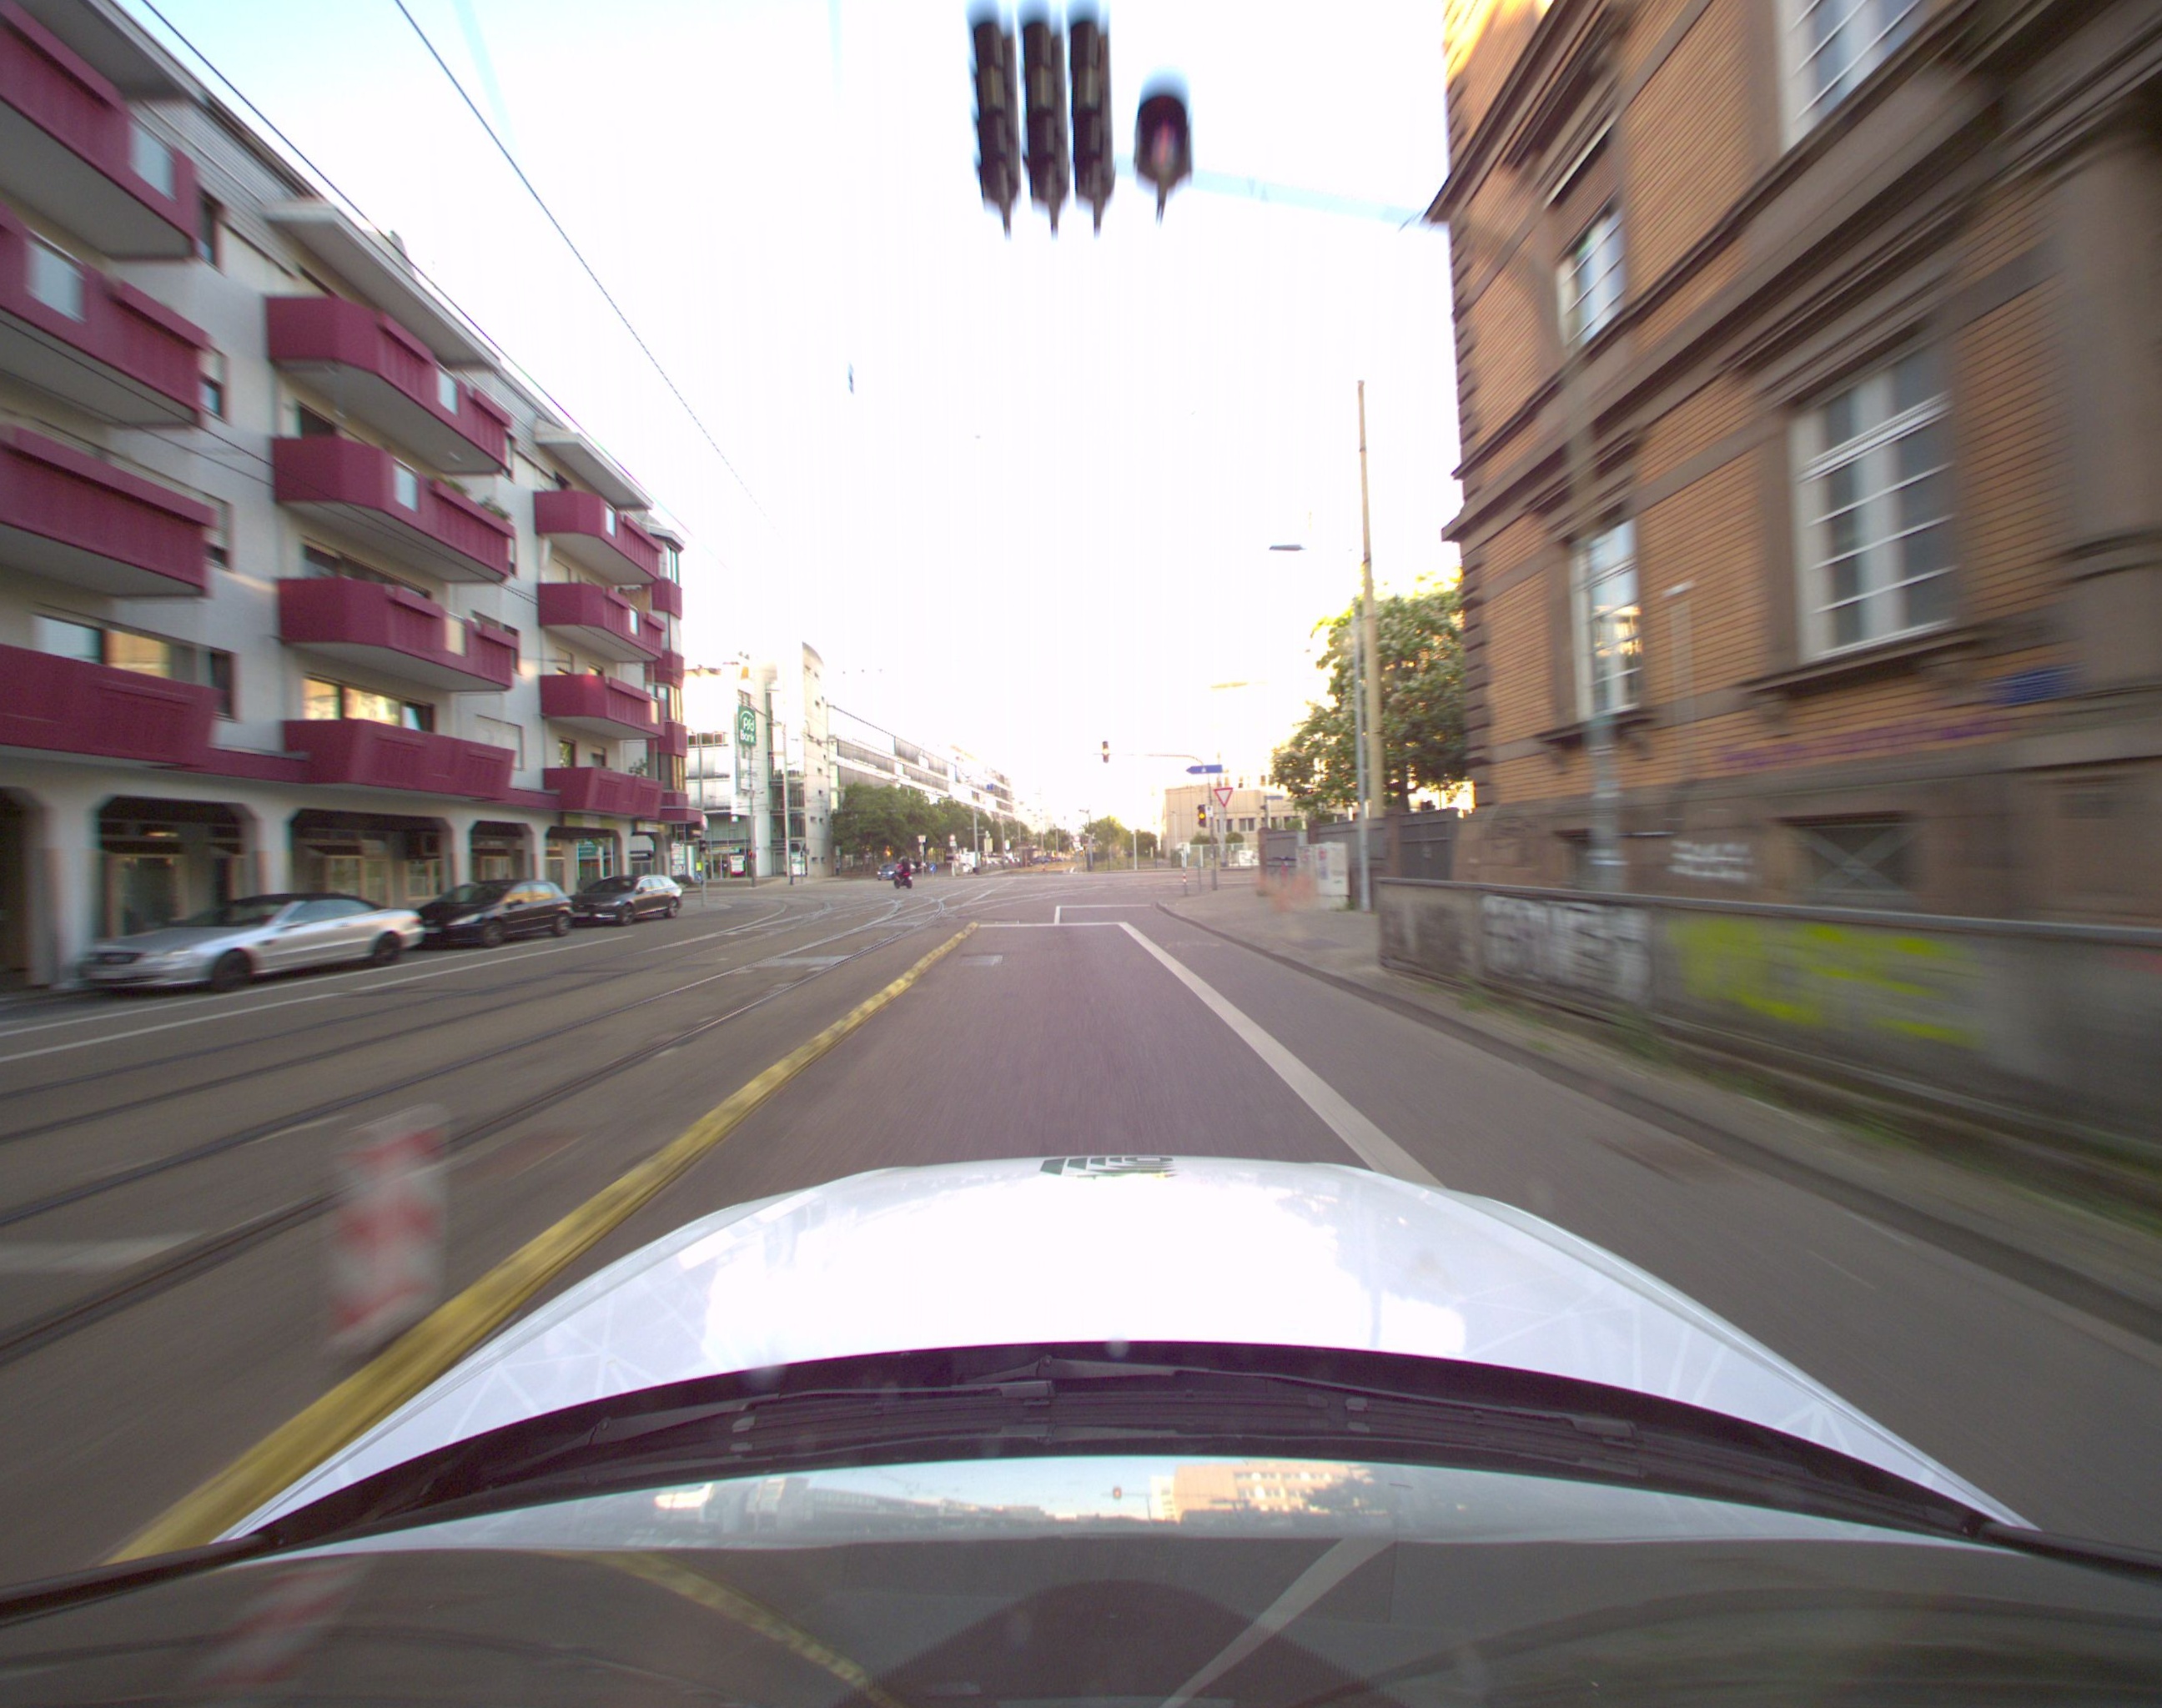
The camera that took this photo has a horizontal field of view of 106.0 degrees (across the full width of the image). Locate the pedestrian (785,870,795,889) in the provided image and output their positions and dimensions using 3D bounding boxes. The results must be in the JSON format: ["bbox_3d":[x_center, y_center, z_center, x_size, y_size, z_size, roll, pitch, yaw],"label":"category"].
[{"bbox_3d":[-26.952,2.331,75.534,0.542,1.711,0.662,-3,0,14],"label":"pedestrian"}]

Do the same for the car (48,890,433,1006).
[{"bbox_3d":[-13.646,1.420,13.763,1.686,1.414,4.675,0,0,-1],"label":"car"}]

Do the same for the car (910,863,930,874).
[{"bbox_3d":[-22.932,2.052,116.322,1.675,1.501,4.245,-2,0,5],"label":"car"}]

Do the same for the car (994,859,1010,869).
[{"bbox_3d":[-11.760,1.457,121.418,1.675,1.439,4.130,-2,0,4],"label":"car"}]

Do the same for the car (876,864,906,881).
[{"bbox_3d":[-20.058,1.923,86.051,1.674,1.699,4.246,-2,0,6],"label":"car"}]

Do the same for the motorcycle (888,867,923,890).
[{"bbox_3d":[-9.858,1.368,45.708,0.835,1.240,2.462,-2,0,-39],"label":"motorcycle"}]

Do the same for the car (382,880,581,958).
[{"bbox_3d":[-14.085,1.454,19.496,1.784,1.508,4.196,-1,0,-3],"label":"car"}]

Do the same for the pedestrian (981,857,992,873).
[{"bbox_3d":[-12.006,1.408,103.079,1.044,2.030,0.976,-2,0,-24],"label":"pedestrian"}]

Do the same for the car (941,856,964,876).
[{"bbox_3d":[-21.757,2.035,138.082,2.191,3.152,6.151,-2,0,5],"label":"car"}]

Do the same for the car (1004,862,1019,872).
[{"bbox_3d":[-11.095,2.133,129.702,1.675,1.439,4.130,-2,0,4],"label":"car"}]

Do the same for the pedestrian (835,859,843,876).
[{"bbox_3d":[-27.337,1.536,92.113,0.661,1.922,0.547,-3,0,-7],"label":"pedestrian"}]

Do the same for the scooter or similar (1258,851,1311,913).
[{"bbox_3d":[4.454,0.594,17.939,0.640,1.266,1.581,-4,0,-2],"label":"scooter or similar"}]

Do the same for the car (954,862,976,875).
[{"bbox_3d":[-13.708,1.718,96.279,1.675,1.439,4.130,-2,0,4],"label":"car"}]

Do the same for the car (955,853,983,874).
[{"bbox_3d":[-13.991,1.187,101.991,2.453,2.482,5.808,-2,0,0],"label":"car"}]

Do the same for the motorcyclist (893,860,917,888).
[{"bbox_3d":[-9.888,1.128,45.756,0.835,1.473,1.193,-2,0,-39],"label":"motorcyclist"}]

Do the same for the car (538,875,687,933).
[{"bbox_3d":[-14.347,1.471,25.353,1.847,1.456,5.081,-2,0,-3],"label":"car"}]
